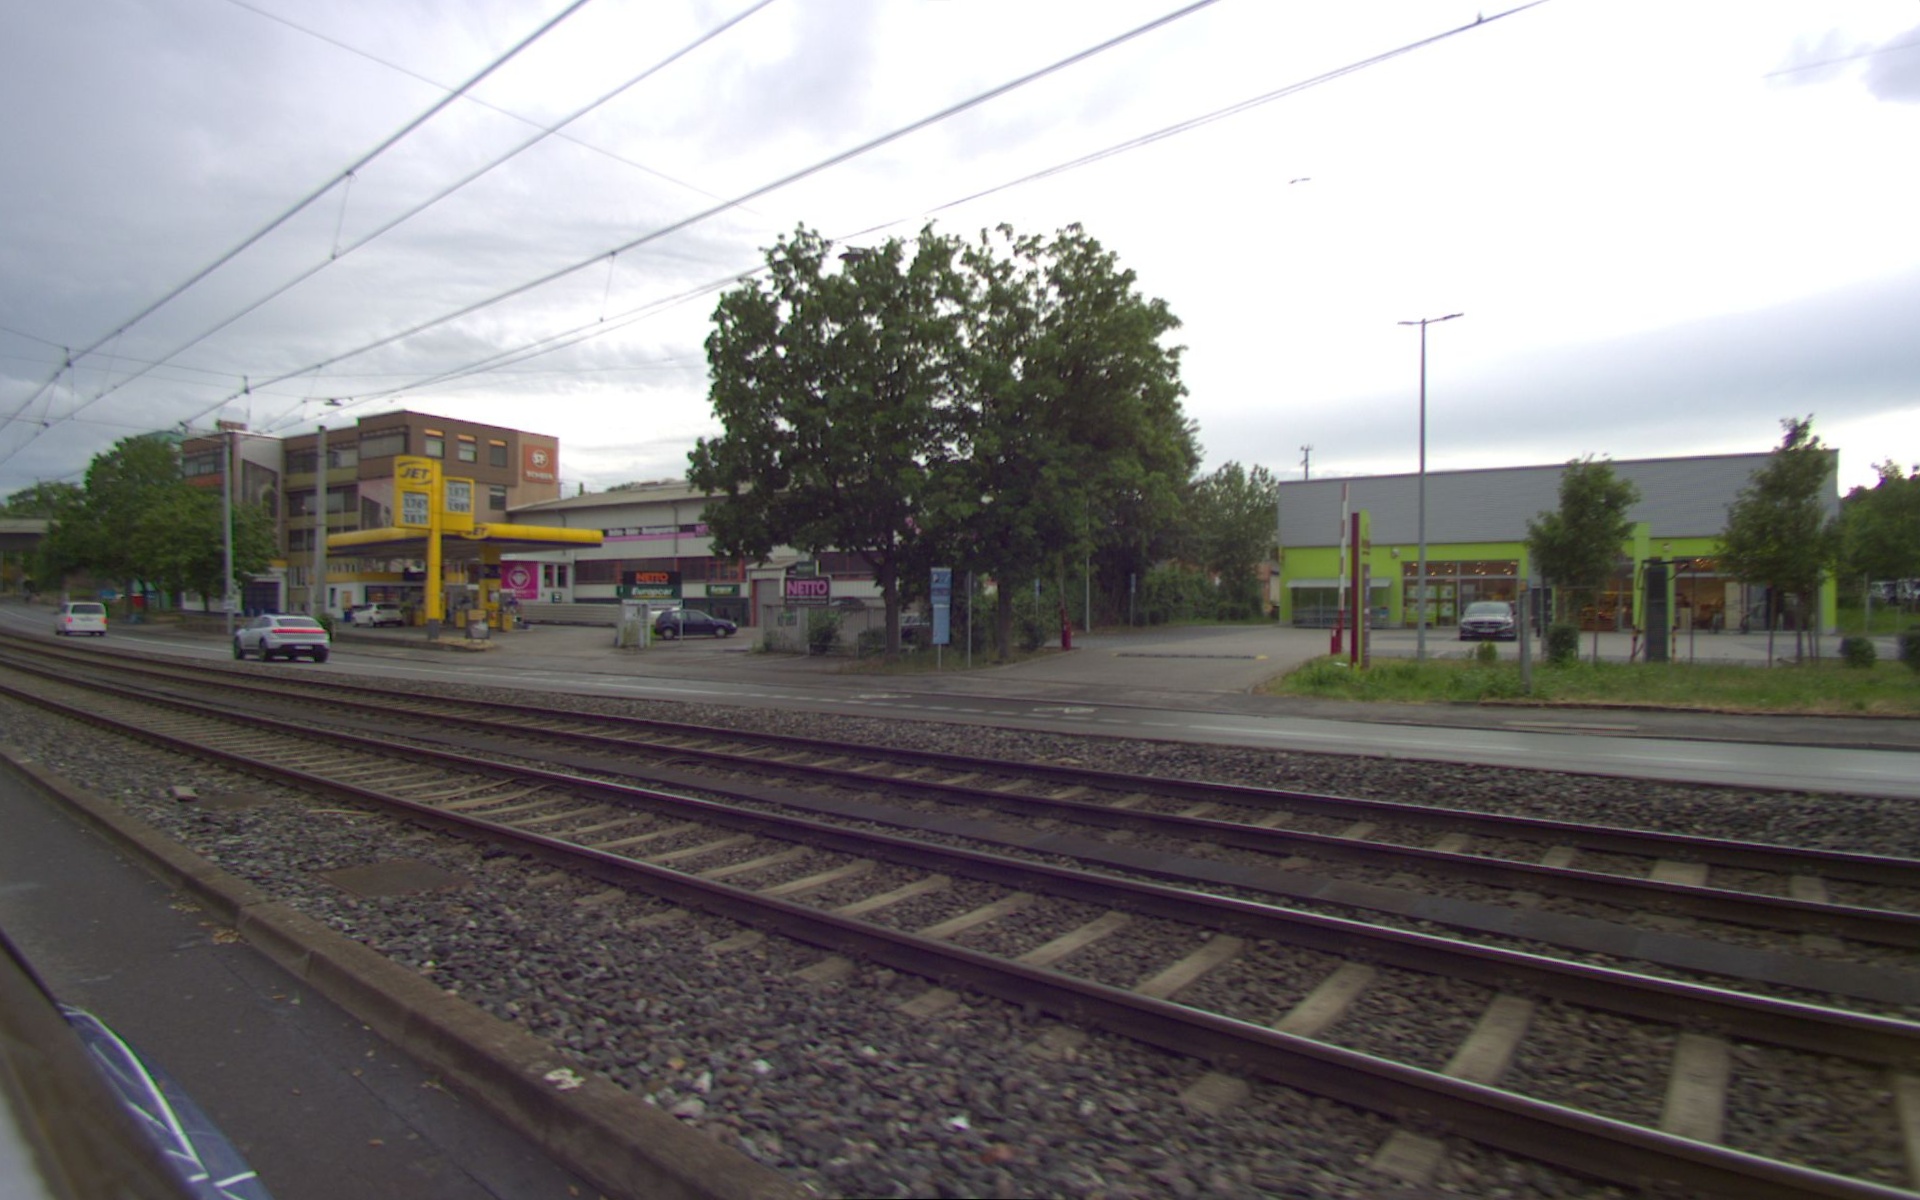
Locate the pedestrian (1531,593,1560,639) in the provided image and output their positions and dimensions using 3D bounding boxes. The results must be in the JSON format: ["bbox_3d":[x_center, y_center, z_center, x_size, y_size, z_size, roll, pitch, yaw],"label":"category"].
[{"bbox_3d":[21.096,0.562,36.457,0.758,1.609,0.793,1,2,41],"label":"pedestrian"}]

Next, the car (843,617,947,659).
[{"bbox_3d":[-2.653,1.490,40.925,3.987,1.467,1.673,1,2,32],"label":"car"}]

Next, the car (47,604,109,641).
[{"bbox_3d":[-52.260,1.337,59.926,5.056,2.029,1.973,-1,-3,40],"label":"car"}]

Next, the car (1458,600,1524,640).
[{"bbox_3d":[19.347,0.703,36.795,1.770,1.355,4.330,-1,0,32],"label":"car"}]

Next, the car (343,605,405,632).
[{"bbox_3d":[-34.303,1.038,59.208,4.070,1.426,1.754,0,1,38],"label":"car"}]

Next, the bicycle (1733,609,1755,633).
[{"bbox_3d":[32.830,0.878,42.379,0.532,0.989,1.598,-2,-1,32],"label":"bicycle"}]

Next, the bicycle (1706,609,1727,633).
[{"bbox_3d":[32.078,0.869,42.916,0.532,0.989,1.598,-2,-1,32],"label":"bicycle"}]

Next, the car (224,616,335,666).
[{"bbox_3d":[-24.184,1.450,35.902,4.755,1.662,1.973,-1,-3,40],"label":"car"}]

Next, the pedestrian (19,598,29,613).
[{"bbox_3d":[-109.455,0.637,118.295,1.021,1.657,0.737,0,0,42],"label":"pedestrian"}]

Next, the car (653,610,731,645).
[{"bbox_3d":[-12.889,1.305,48.829,3.541,1.600,1.708,0,1,-12],"label":"car"}]

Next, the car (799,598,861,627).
[{"bbox_3d":[-8.208,0.813,64.247,1.845,1.662,4.056,-1,-3,31],"label":"car"}]
